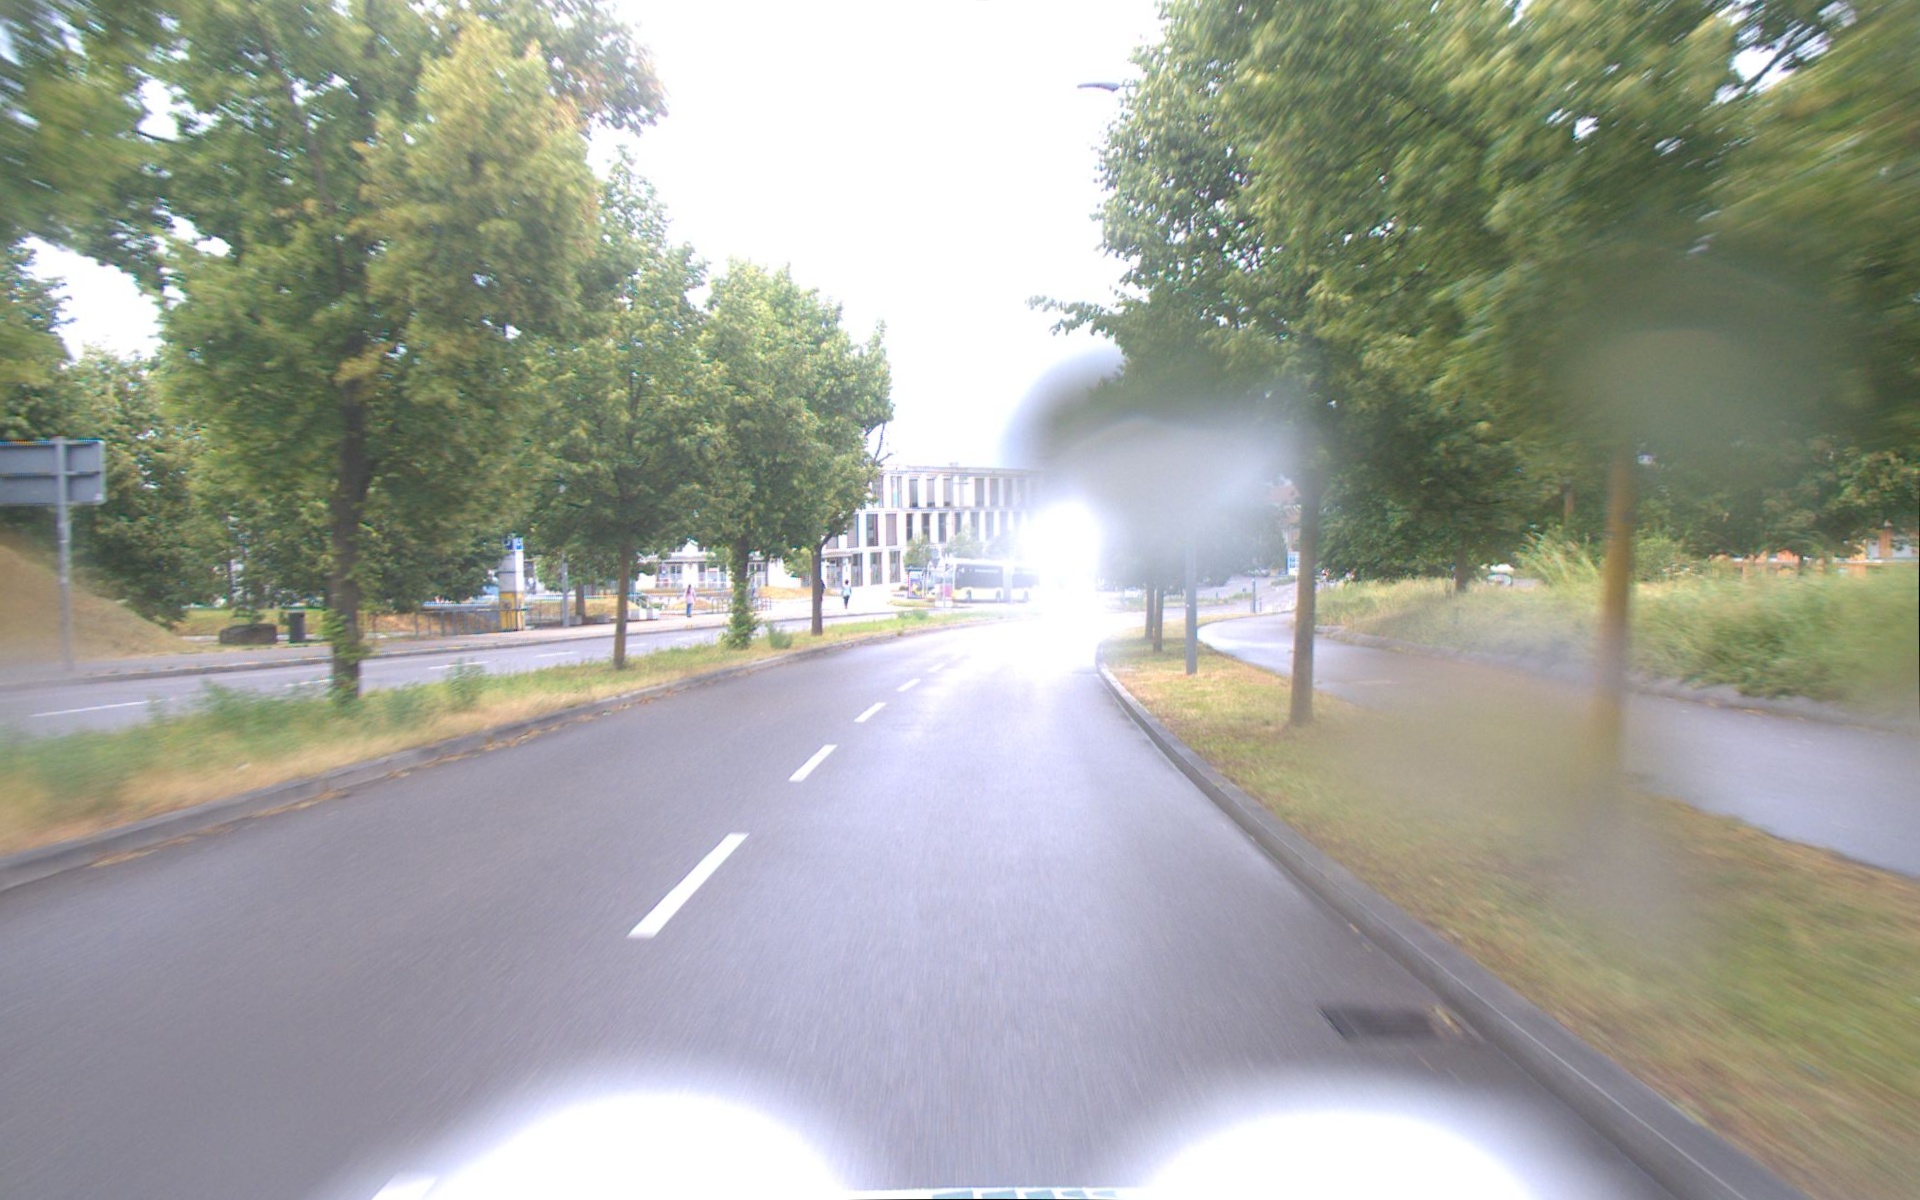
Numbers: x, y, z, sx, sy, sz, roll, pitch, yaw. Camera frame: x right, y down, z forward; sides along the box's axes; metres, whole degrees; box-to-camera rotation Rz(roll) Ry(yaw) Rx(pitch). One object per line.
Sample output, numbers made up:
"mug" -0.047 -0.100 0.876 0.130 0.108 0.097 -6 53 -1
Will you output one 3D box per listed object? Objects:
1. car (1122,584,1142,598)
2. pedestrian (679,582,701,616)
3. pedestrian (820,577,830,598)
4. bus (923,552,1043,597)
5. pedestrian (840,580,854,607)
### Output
"car" 18.302 -0.931 175.517 1.448 1.520 2.529 -1 0 23
"pedestrian" -13.118 -0.049 80.395 0.796 1.649 0.936 -1 -1 10
"pedestrian" -9.890 -0.898 120.882 0.668 1.551 0.719 0 -1 -1
"bus" 2.168 -1.970 136.043 2.729 3.416 18.215 -1 0 25
"pedestrian" -6.691 -0.385 97.983 0.818 1.601 0.718 0 -1 -7
